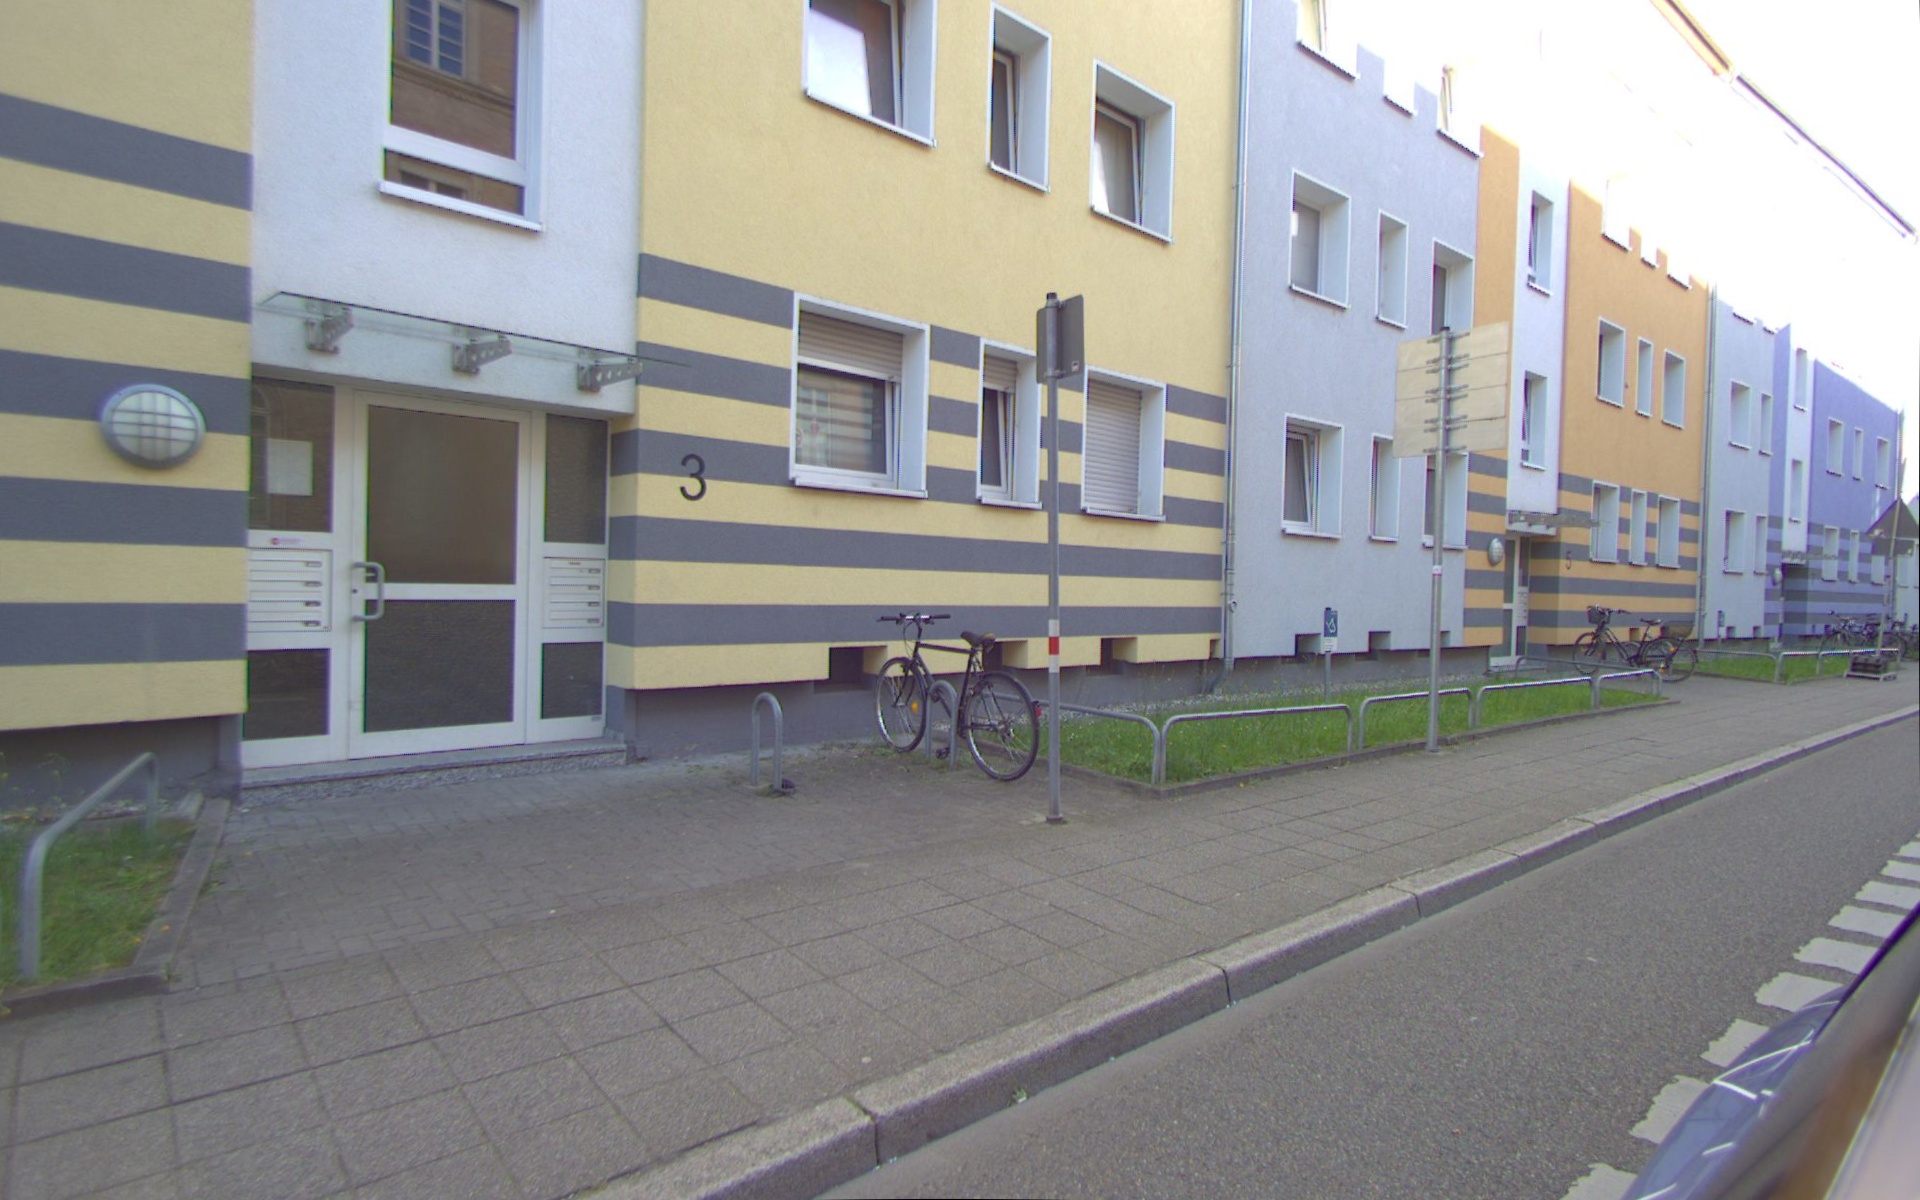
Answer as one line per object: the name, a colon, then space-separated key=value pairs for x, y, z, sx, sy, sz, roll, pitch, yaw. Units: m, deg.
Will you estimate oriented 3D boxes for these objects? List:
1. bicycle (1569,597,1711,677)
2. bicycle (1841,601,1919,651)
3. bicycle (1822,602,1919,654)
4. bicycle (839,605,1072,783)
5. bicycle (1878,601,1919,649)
bicycle: x=10.678 y=0.556 z=15.944 sx=1.775 sy=1.137 sz=0.476 roll=3 pitch=1 yaw=44
bicycle: x=23.298 y=0.638 z=25.421 sx=0.475 sy=1.166 sz=1.678 roll=1 pitch=1 yaw=-37
bicycle: x=22.216 y=0.655 z=24.729 sx=0.475 sy=1.166 sz=1.678 roll=1 pitch=1 yaw=-37
bicycle: x=-0.082 y=0.582 z=7.015 sx=1.775 sy=1.031 sz=0.476 roll=3 pitch=1 yaw=44
bicycle: x=24.125 y=0.649 z=25.278 sx=0.475 sy=1.166 sz=1.678 roll=1 pitch=1 yaw=-37
